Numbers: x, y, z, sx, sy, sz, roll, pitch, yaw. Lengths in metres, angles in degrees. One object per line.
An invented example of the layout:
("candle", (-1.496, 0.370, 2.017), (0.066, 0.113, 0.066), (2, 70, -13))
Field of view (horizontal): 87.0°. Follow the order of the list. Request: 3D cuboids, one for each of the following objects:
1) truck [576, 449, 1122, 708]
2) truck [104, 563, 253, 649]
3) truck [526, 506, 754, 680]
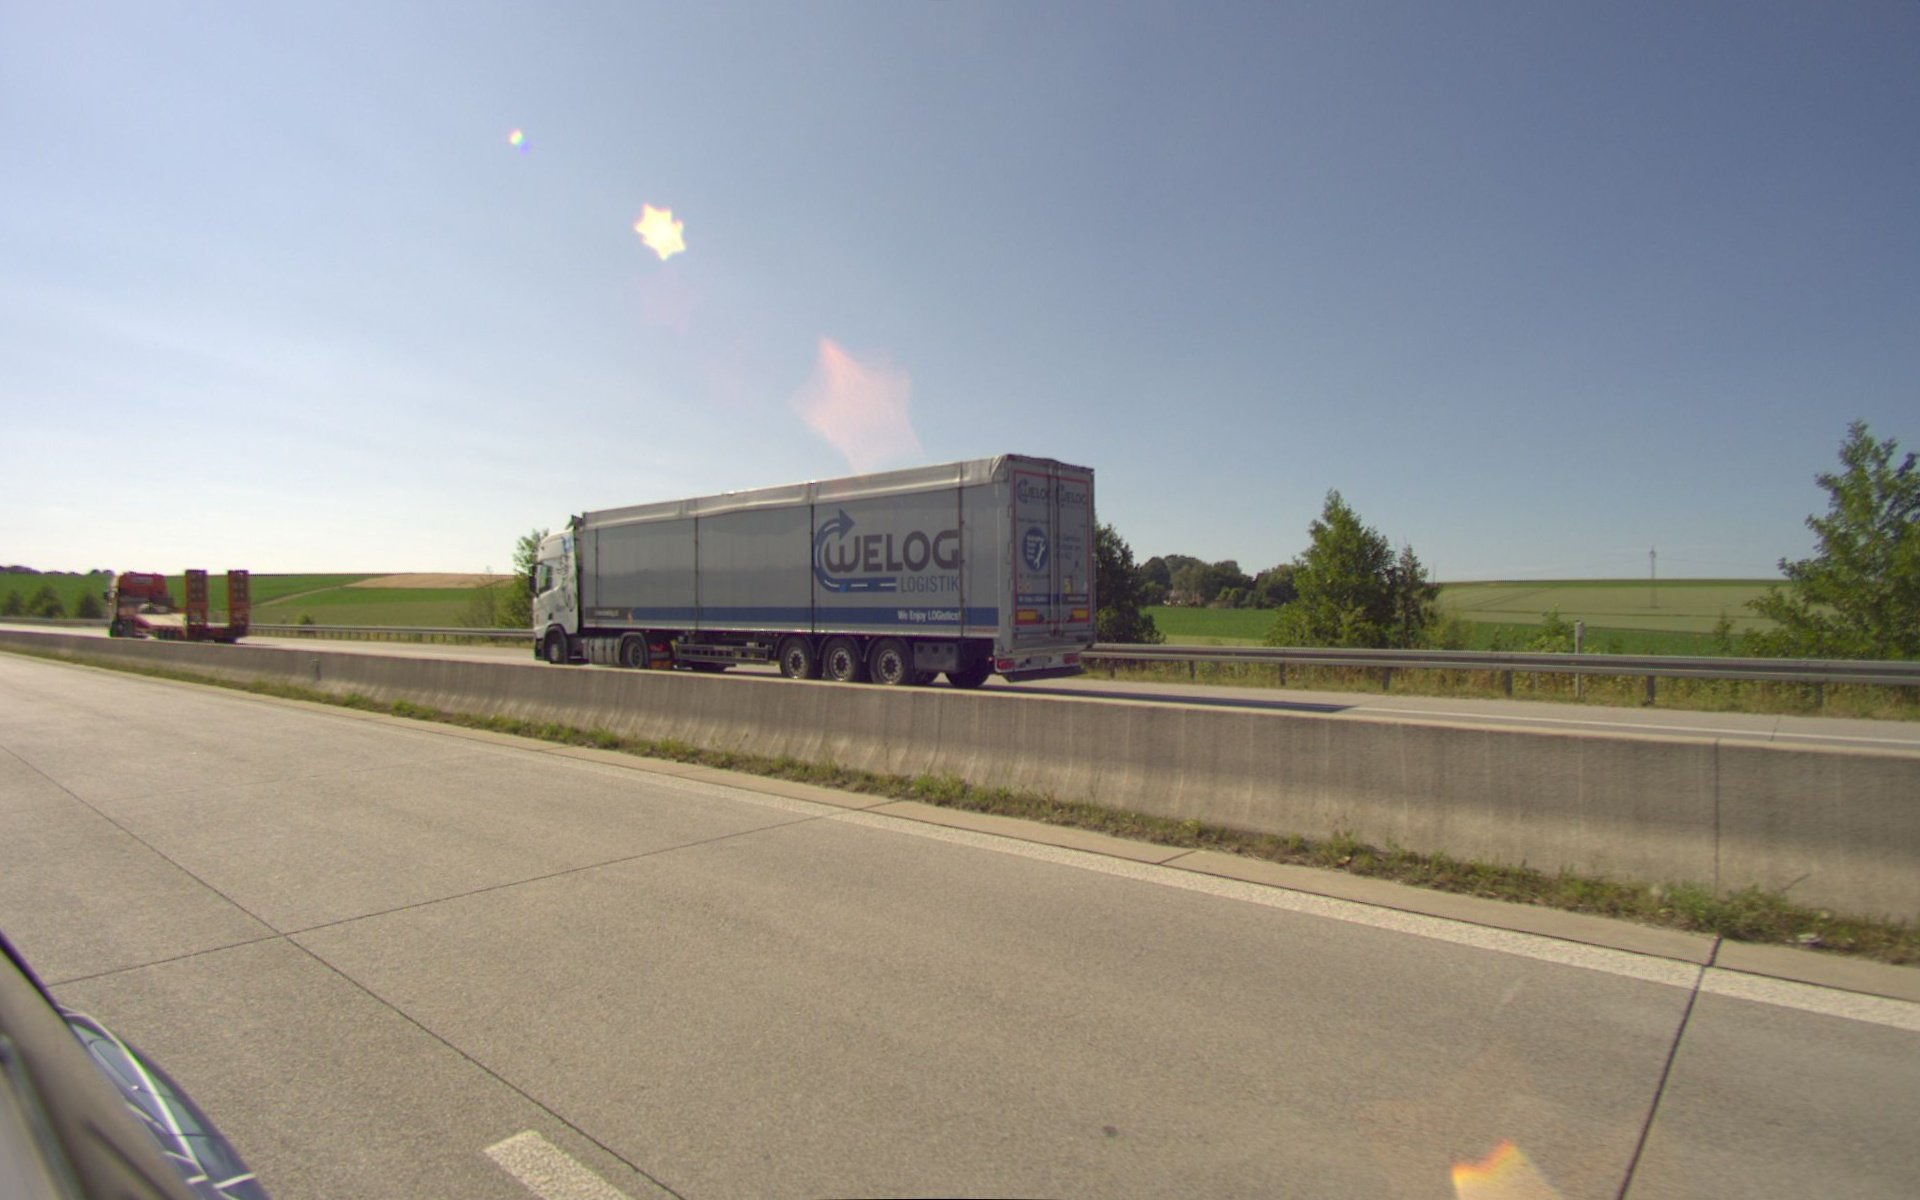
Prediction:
("truck", (-3.269, -0.244, 21.411), (13.860, 4.038, 2.830), (-1, -1, 41))
("truck", (-42.322, 0.384, 54.385), (17.102, 4.046, 2.838), (-1, -1, 40))
("truck", (-8.237, -0.097, 25.742), (5.980, 3.903, 2.831), (-1, -2, 41))
